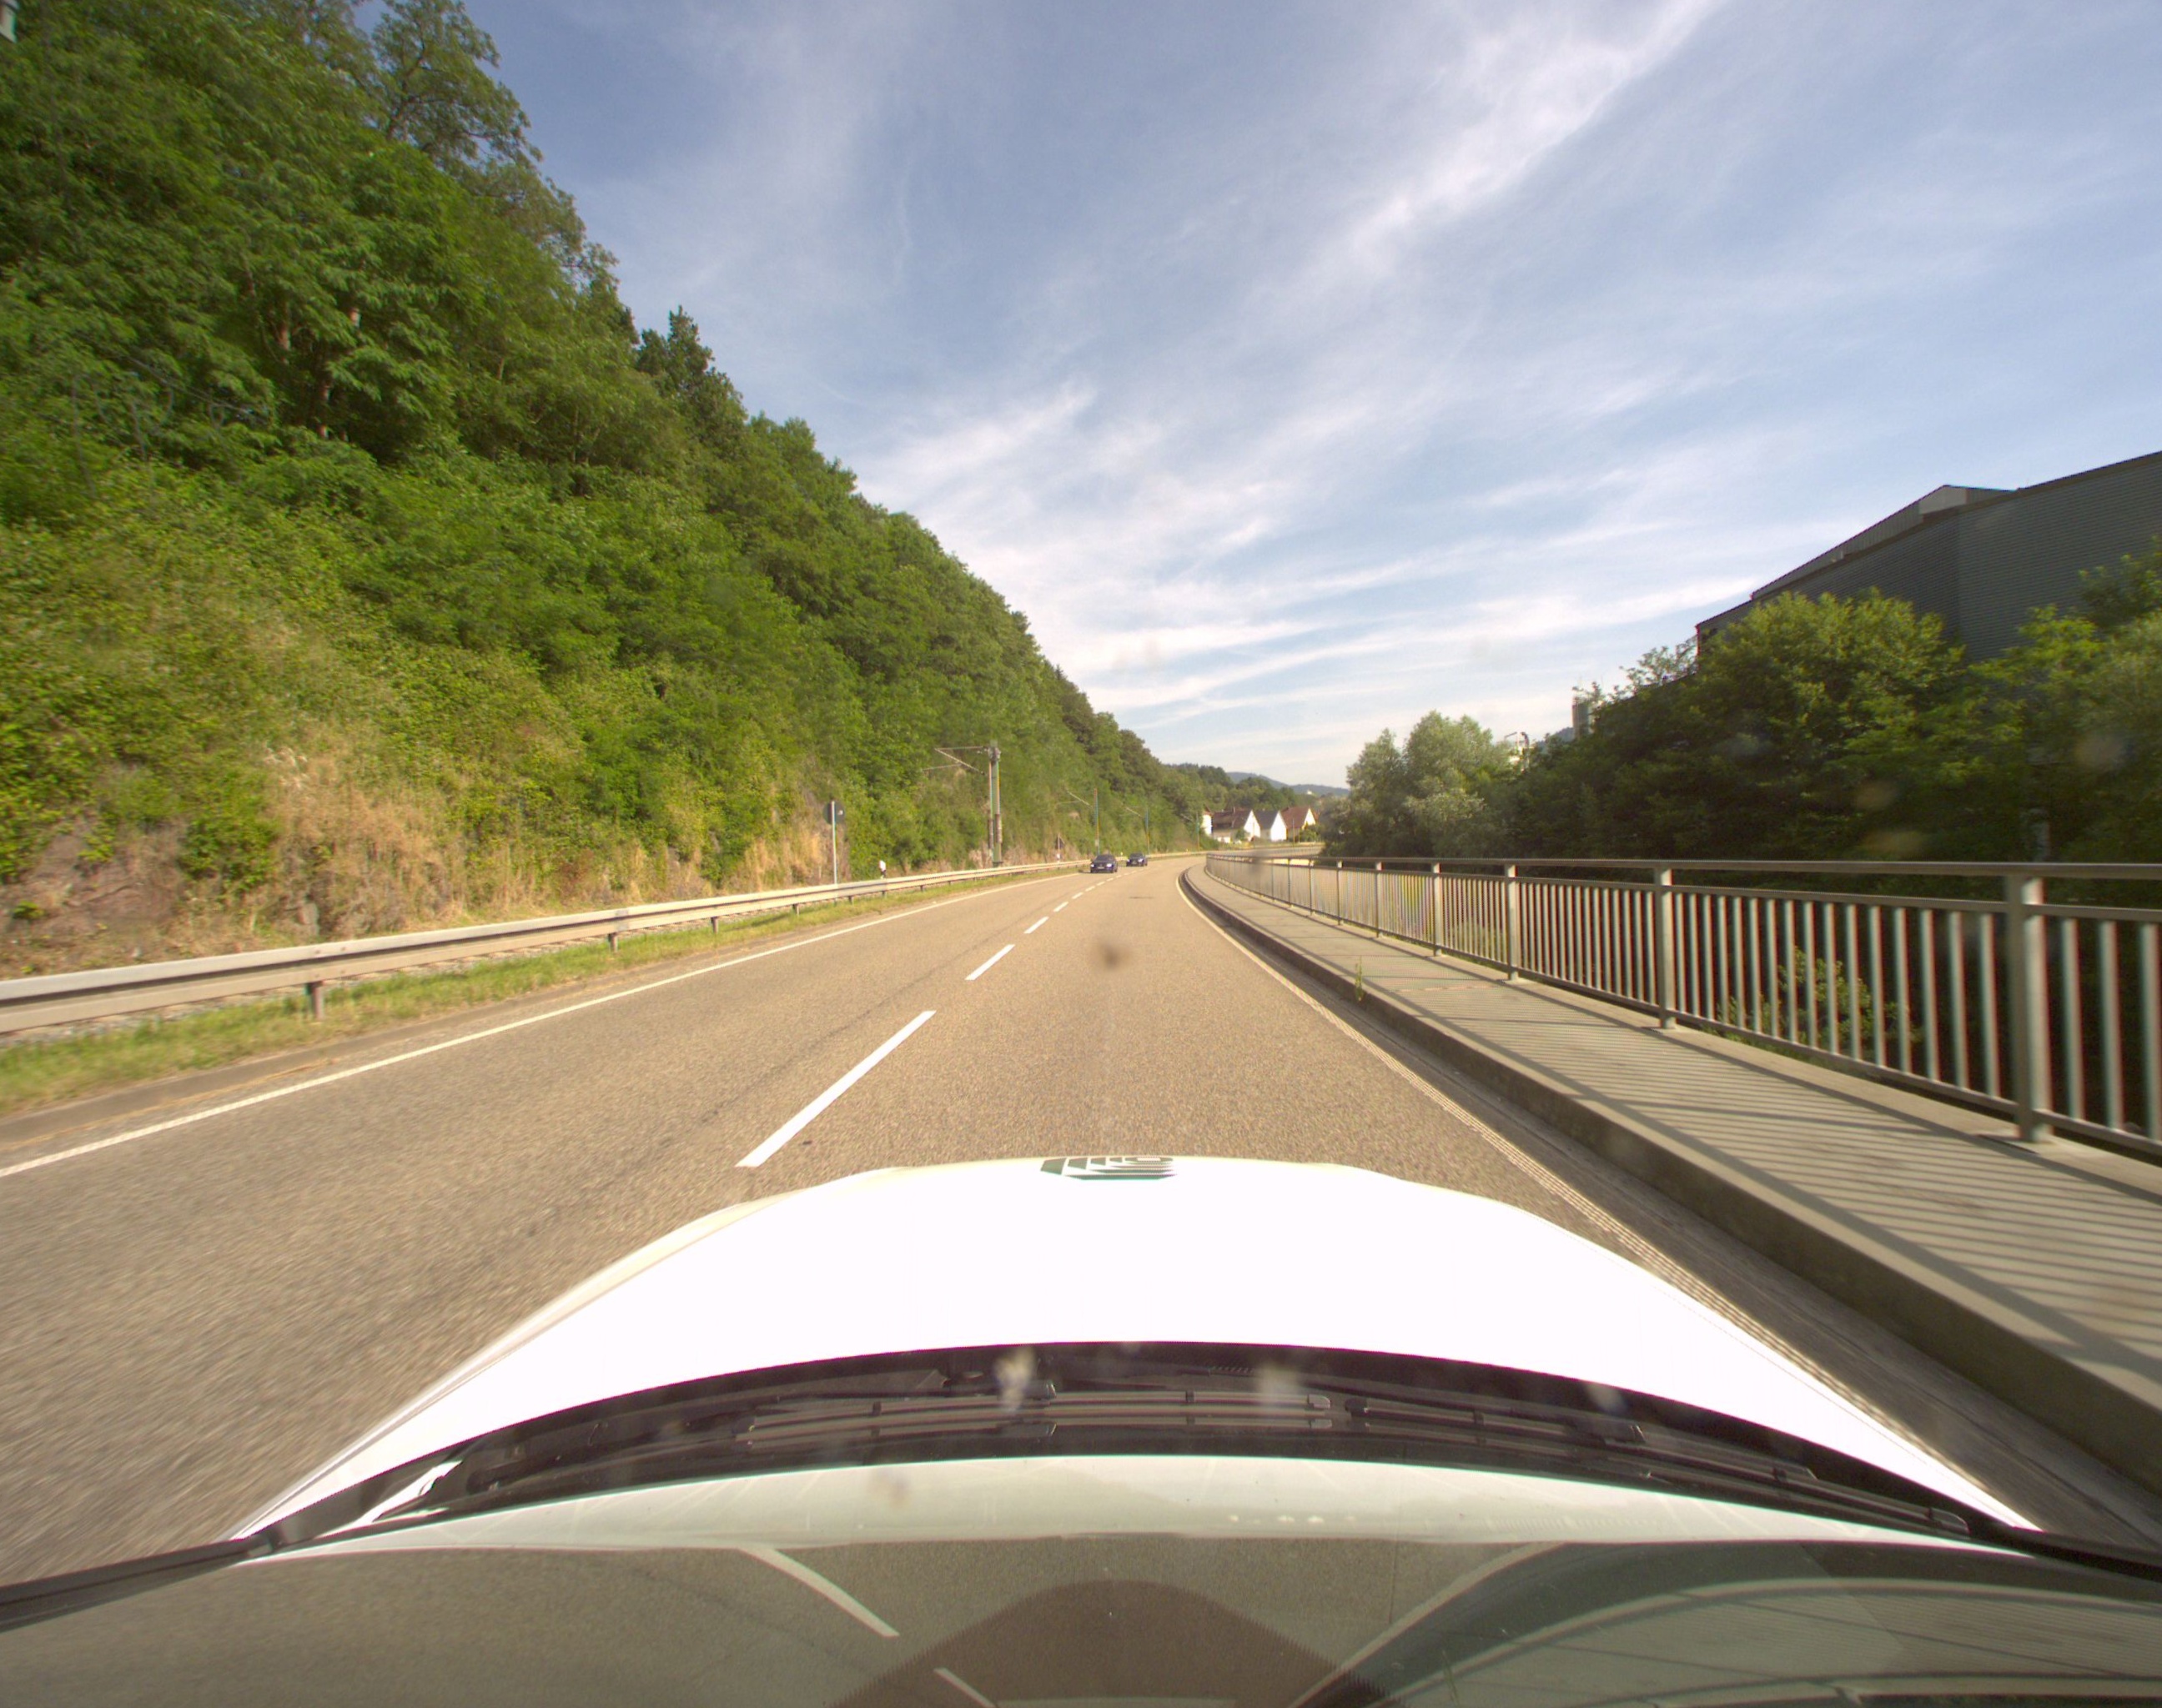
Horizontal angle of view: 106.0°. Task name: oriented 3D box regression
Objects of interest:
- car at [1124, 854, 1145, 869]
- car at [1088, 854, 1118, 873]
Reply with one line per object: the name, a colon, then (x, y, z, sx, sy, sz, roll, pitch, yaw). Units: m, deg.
car: (5.641, 0.764, 85.044, 1.837, 1.402, 4.486, -2, 0, 8)
car: (1.738, 0.707, 62.861, 1.837, 1.440, 3.905, -1, 0, 7)
